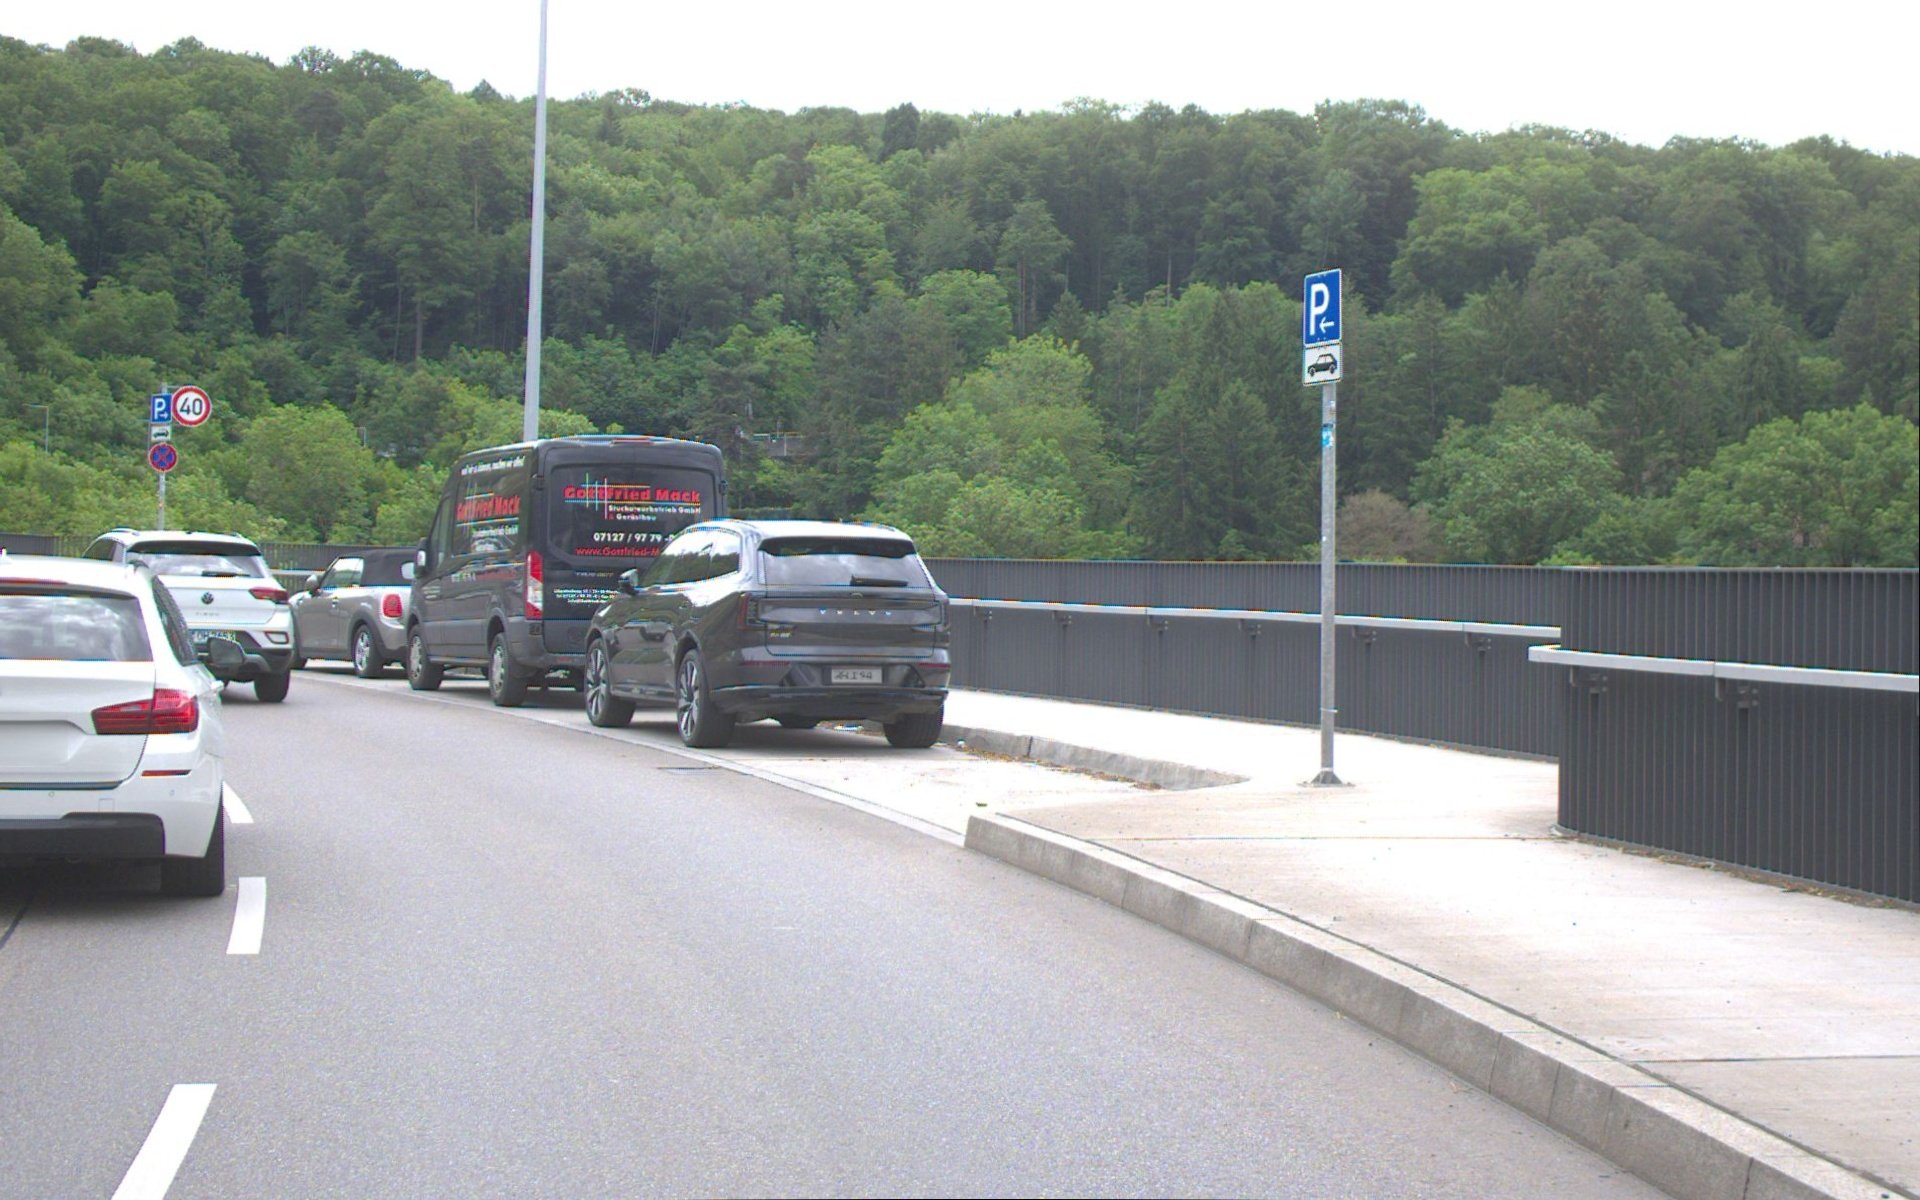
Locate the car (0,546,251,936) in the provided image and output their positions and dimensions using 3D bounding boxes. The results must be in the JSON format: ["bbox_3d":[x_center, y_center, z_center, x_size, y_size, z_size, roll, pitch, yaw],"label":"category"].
[{"bbox_3d":[-4.280,0.524,15.627,1.827,1.454,4.487,-1,2,-9],"label":"car"}]

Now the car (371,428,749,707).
[{"bbox_3d":[-4.081,-0.381,34.021,2.166,2.513,5.772,-1,2,-23],"label":"car"}]

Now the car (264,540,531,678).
[{"bbox_3d":[-6.464,0.078,39.218,1.714,1.426,3.850,1,1,-30],"label":"car"}]

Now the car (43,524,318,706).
[{"bbox_3d":[-7.442,0.122,32.559,1.827,1.600,4.001,-1,0,-23],"label":"car"}]

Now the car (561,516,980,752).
[{"bbox_3d":[-1.647,0.223,27.657,1.993,1.712,5.051,0,0,-20],"label":"car"}]
